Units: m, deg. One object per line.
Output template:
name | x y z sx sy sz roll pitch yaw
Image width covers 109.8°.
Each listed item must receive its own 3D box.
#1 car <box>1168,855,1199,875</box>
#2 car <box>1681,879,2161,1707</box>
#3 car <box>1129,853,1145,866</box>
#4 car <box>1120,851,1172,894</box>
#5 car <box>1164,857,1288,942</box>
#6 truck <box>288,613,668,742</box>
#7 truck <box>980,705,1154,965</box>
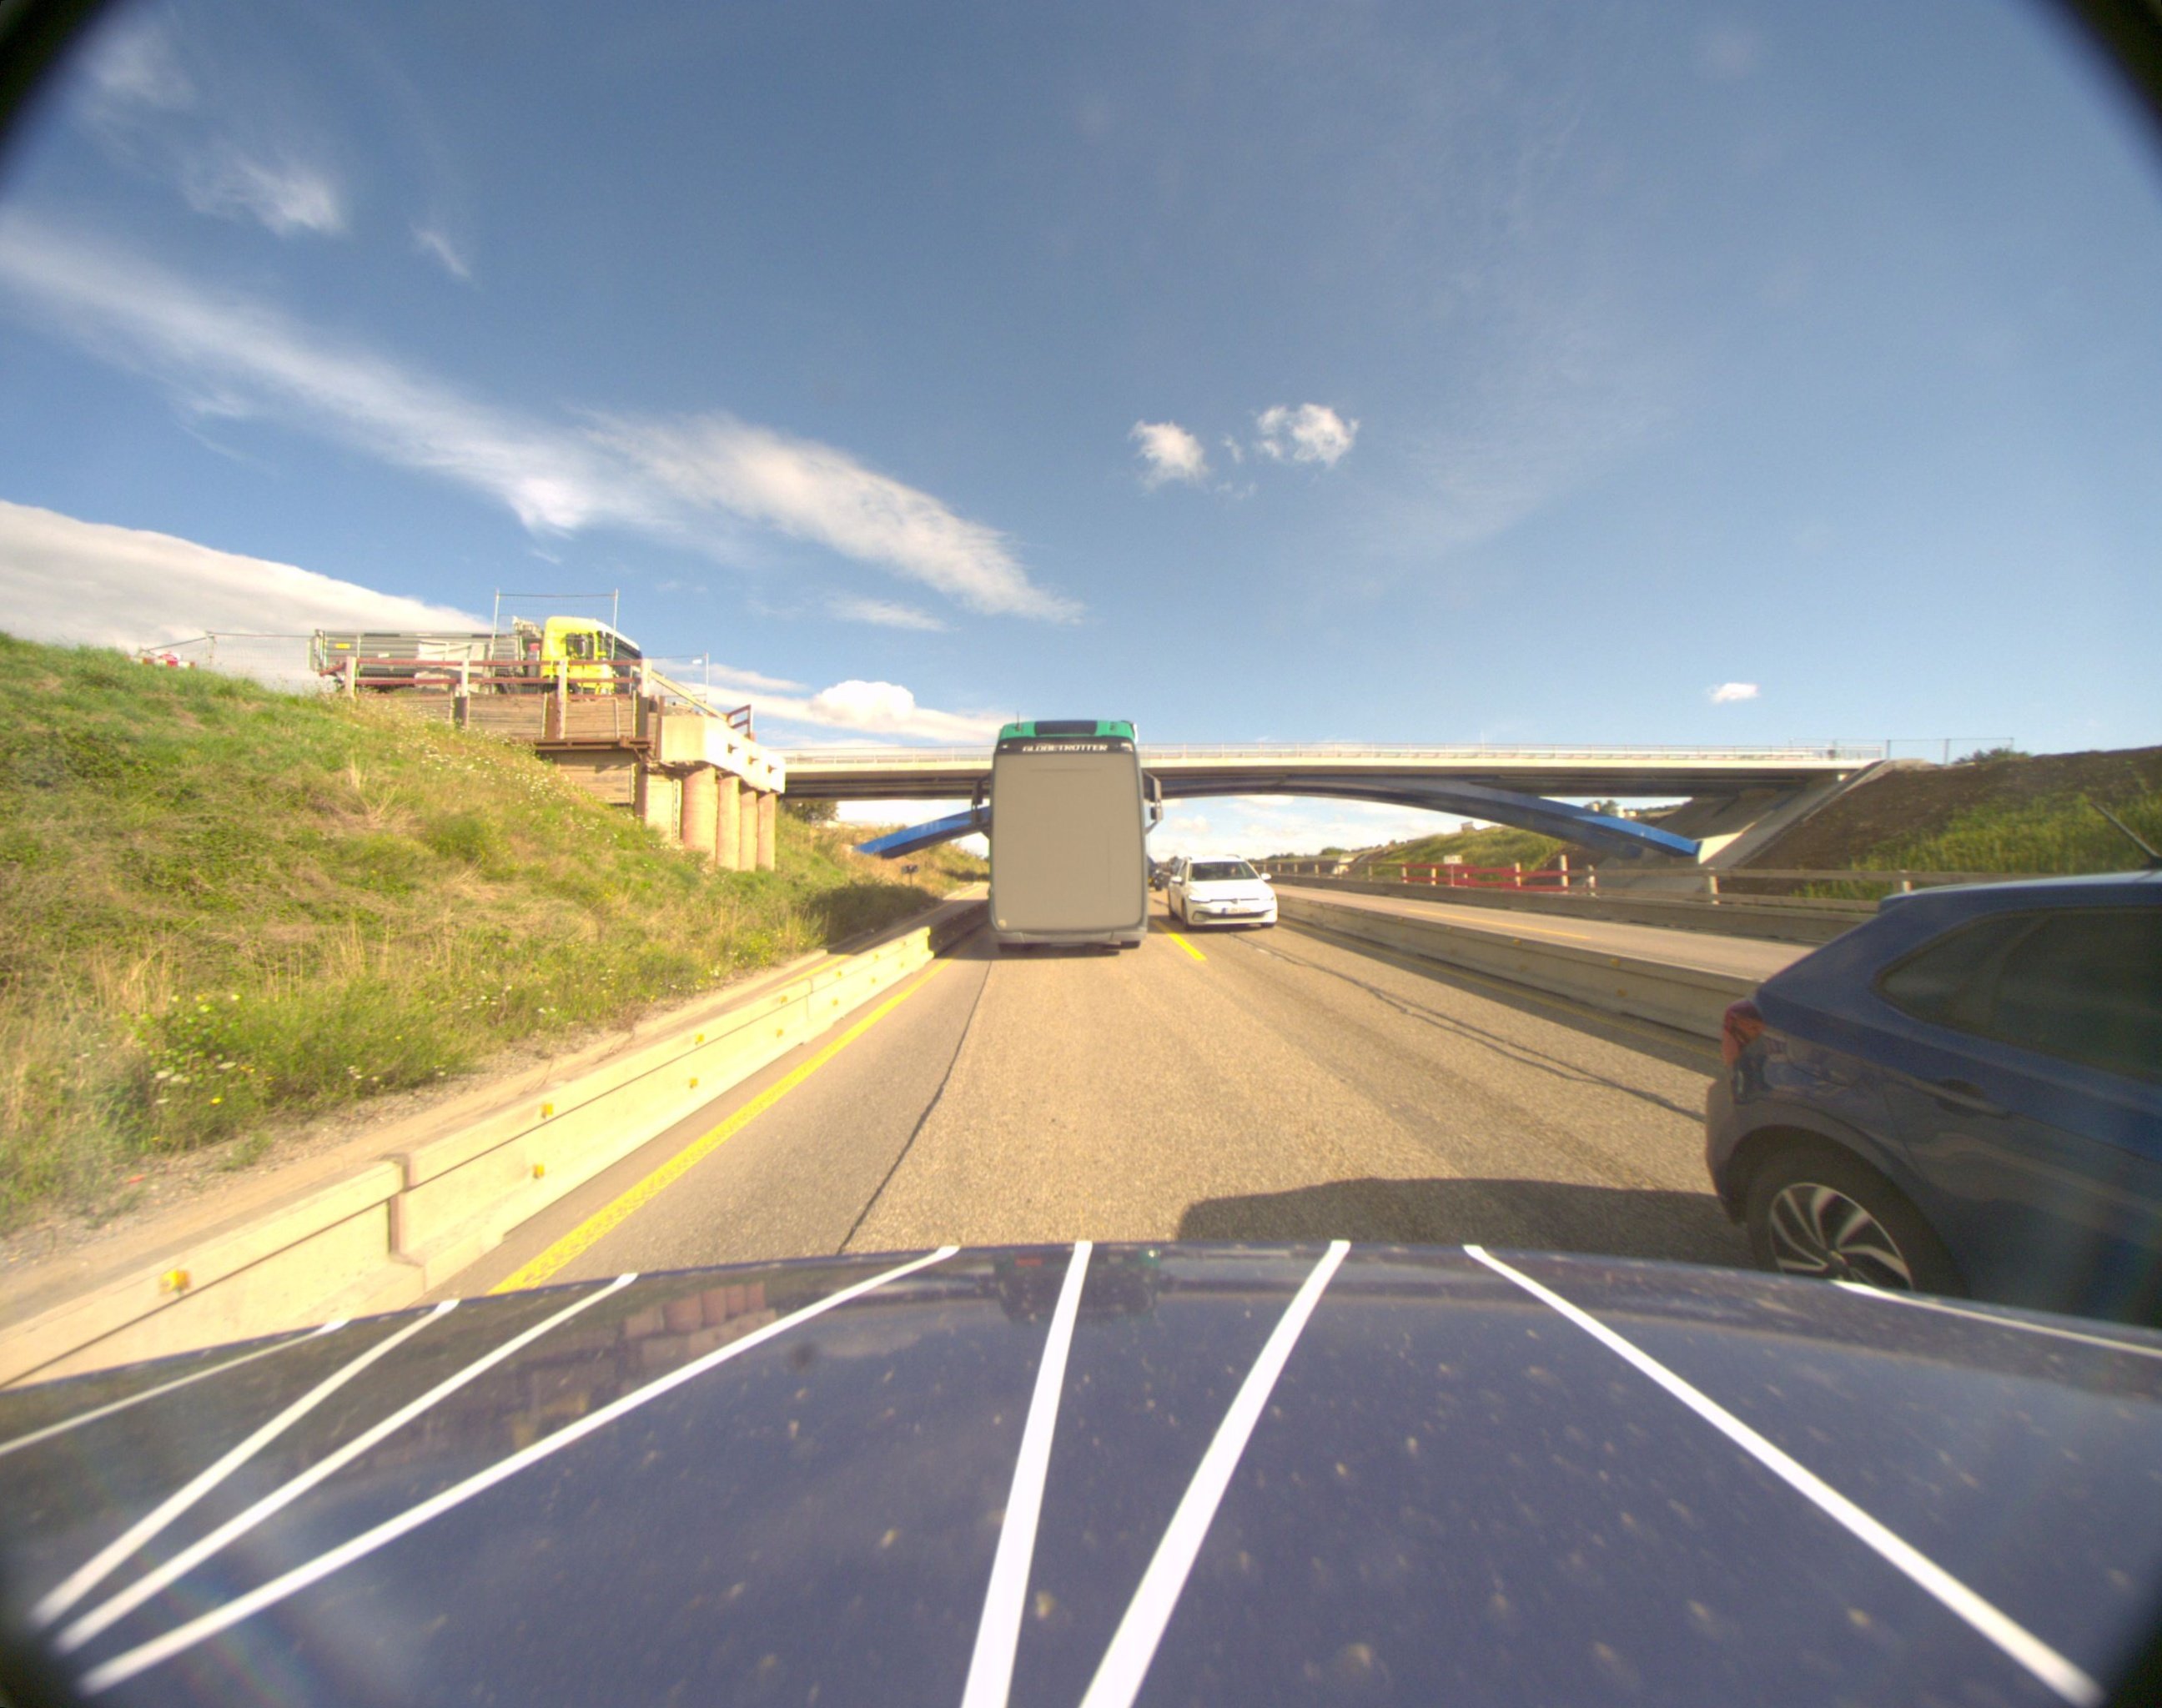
car | 8.100 0.856 60.363 1.738 1.417 4.626 1 0 -1
car | 2.872 0.865 0.562 1.719 1.499 4.000 -2 0 1
car | 7.486 0.699 101.837 1.738 1.649 4.217 1 0 -2
car | 2.714 0.739 32.714 1.855 1.667 4.260 -2 0 1
car | 2.917 0.846 16.225 1.825 1.487 4.374 -2 0 1
truck | -18.455 -5.427 23.779 9.288 3.209 2.959 -1 0 -2
truck | -0.220 -0.291 15.694 2.546 3.899 8.279 -1 0 0
